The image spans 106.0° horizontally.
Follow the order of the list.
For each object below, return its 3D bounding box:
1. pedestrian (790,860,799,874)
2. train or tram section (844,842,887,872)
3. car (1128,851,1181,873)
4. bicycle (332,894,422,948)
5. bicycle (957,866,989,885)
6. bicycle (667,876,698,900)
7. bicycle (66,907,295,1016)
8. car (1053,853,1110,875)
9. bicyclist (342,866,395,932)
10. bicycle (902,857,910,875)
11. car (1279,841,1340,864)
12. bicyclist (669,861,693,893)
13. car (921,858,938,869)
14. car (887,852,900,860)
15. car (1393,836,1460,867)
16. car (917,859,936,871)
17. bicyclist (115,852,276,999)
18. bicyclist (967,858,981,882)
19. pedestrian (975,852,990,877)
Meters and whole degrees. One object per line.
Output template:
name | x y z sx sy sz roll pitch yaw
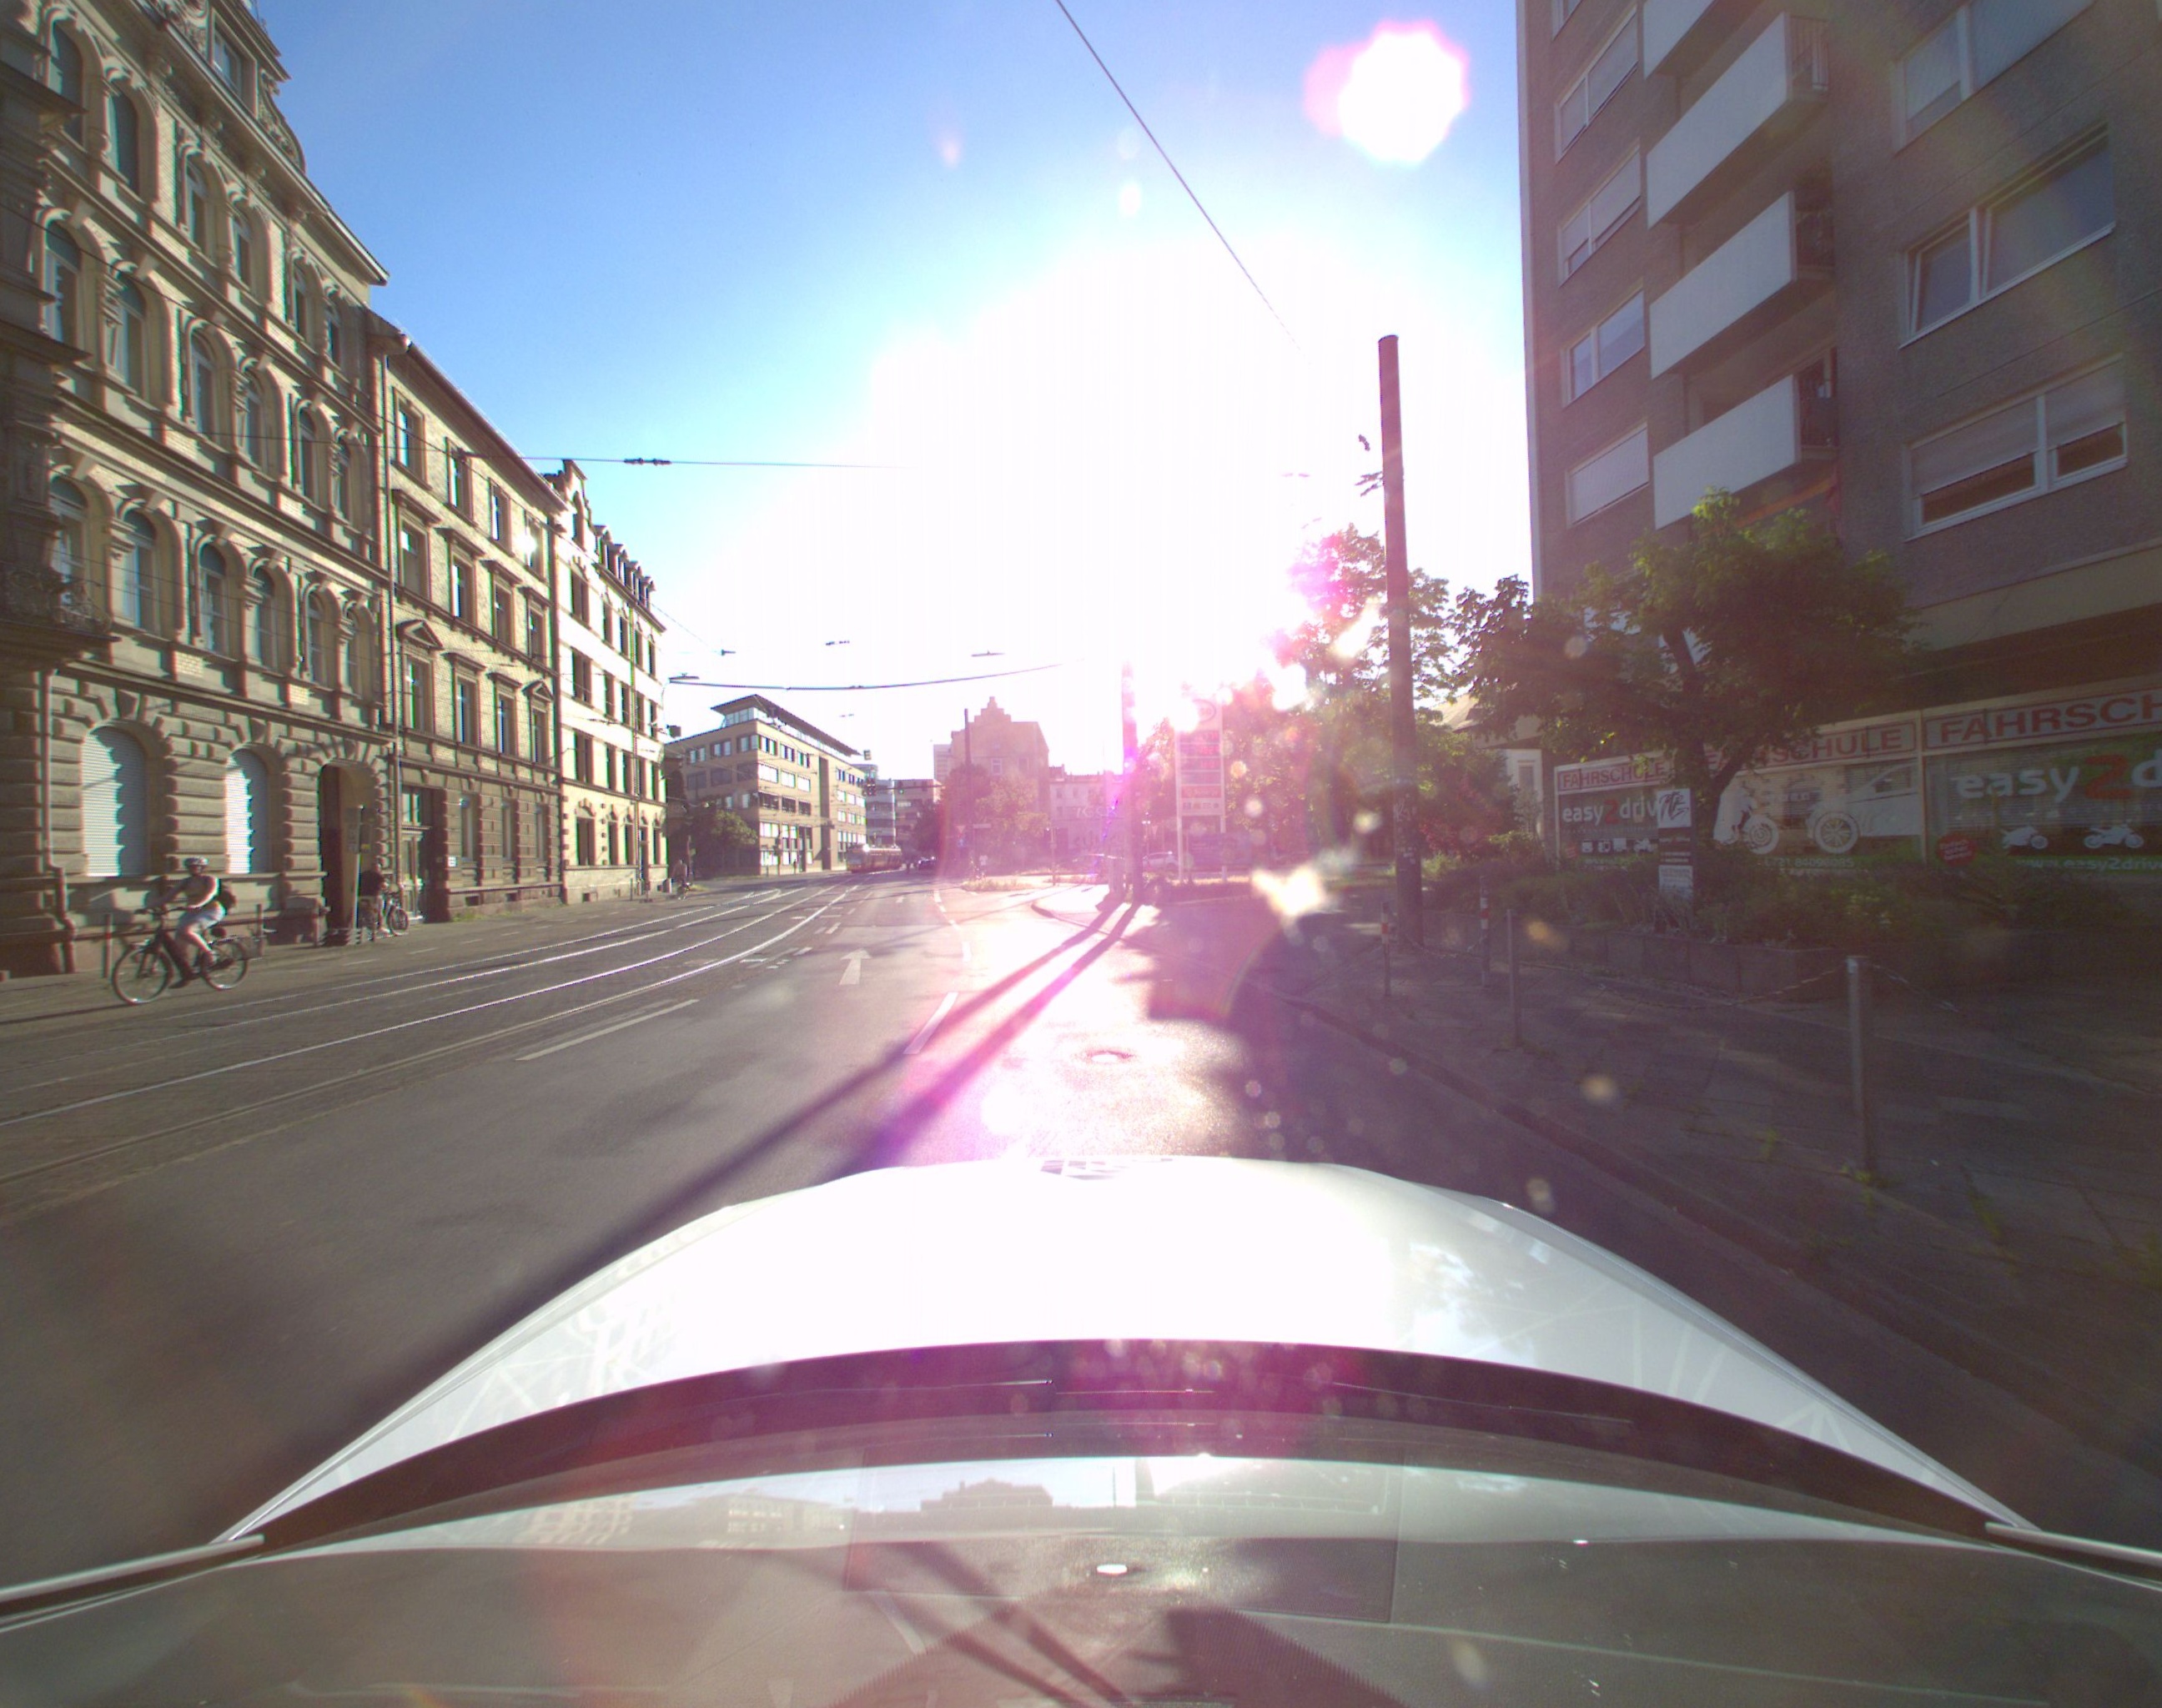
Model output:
pedestrian | -37.585 1.715 106.908 0.804 1.842 0.735 -2 0 -3
train or tram section | -27.480 0.379 104.384 2.236 3.574 14.261 -3 0 -3
car | 5.765 0.602 63.882 3.963 1.507 1.677 -2 0 9
bicycle | -16.869 1.575 19.589 0.500 1.132 2.120 -3 0 -7
bicycle | -6.377 1.256 48.178 1.832 0.984 0.732 -3 0 -8
bicycle | -19.655 1.648 40.212 0.947 1.097 1.989 -3 0 -13
bicycle | -12.093 1.378 11.090 0.883 1.156 2.314 -2 0 -13
car | 0.038 0.728 61.136 3.962 1.453 1.815 -2 0 10
bicyclist | -16.795 1.038 19.211 0.591 1.491 0.700 -3 0 -7
bicycle | -18.370 1.273 85.401 0.564 1.806 1.357 -2 0 -2
car | 16.312 -0.107 58.379 3.965 1.453 1.690 -3 0 7
bicyclist | -19.721 1.143 40.205 0.844 1.514 0.798 -2 0 -14
car | -22.428 1.406 120.537 1.990 1.486 3.994 -3 0 -4
car | -35.879 0.338 156.108 1.790 1.409 3.995 -2 0 -4
car | 24.812 -0.159 58.654 3.968 2.013 1.937 -2 0 5
car | -20.979 1.514 110.448 1.990 1.464 3.994 -3 0 -4
bicyclist | -12.269 0.946 11.339 1.030 1.891 1.107 -2 -1 -14
bicyclist | -6.324 0.946 48.201 0.803 1.413 0.622 -2 -1 -8
pedestrian | -7.101 0.750 58.651 0.924 1.692 0.776 -2 0 -5
